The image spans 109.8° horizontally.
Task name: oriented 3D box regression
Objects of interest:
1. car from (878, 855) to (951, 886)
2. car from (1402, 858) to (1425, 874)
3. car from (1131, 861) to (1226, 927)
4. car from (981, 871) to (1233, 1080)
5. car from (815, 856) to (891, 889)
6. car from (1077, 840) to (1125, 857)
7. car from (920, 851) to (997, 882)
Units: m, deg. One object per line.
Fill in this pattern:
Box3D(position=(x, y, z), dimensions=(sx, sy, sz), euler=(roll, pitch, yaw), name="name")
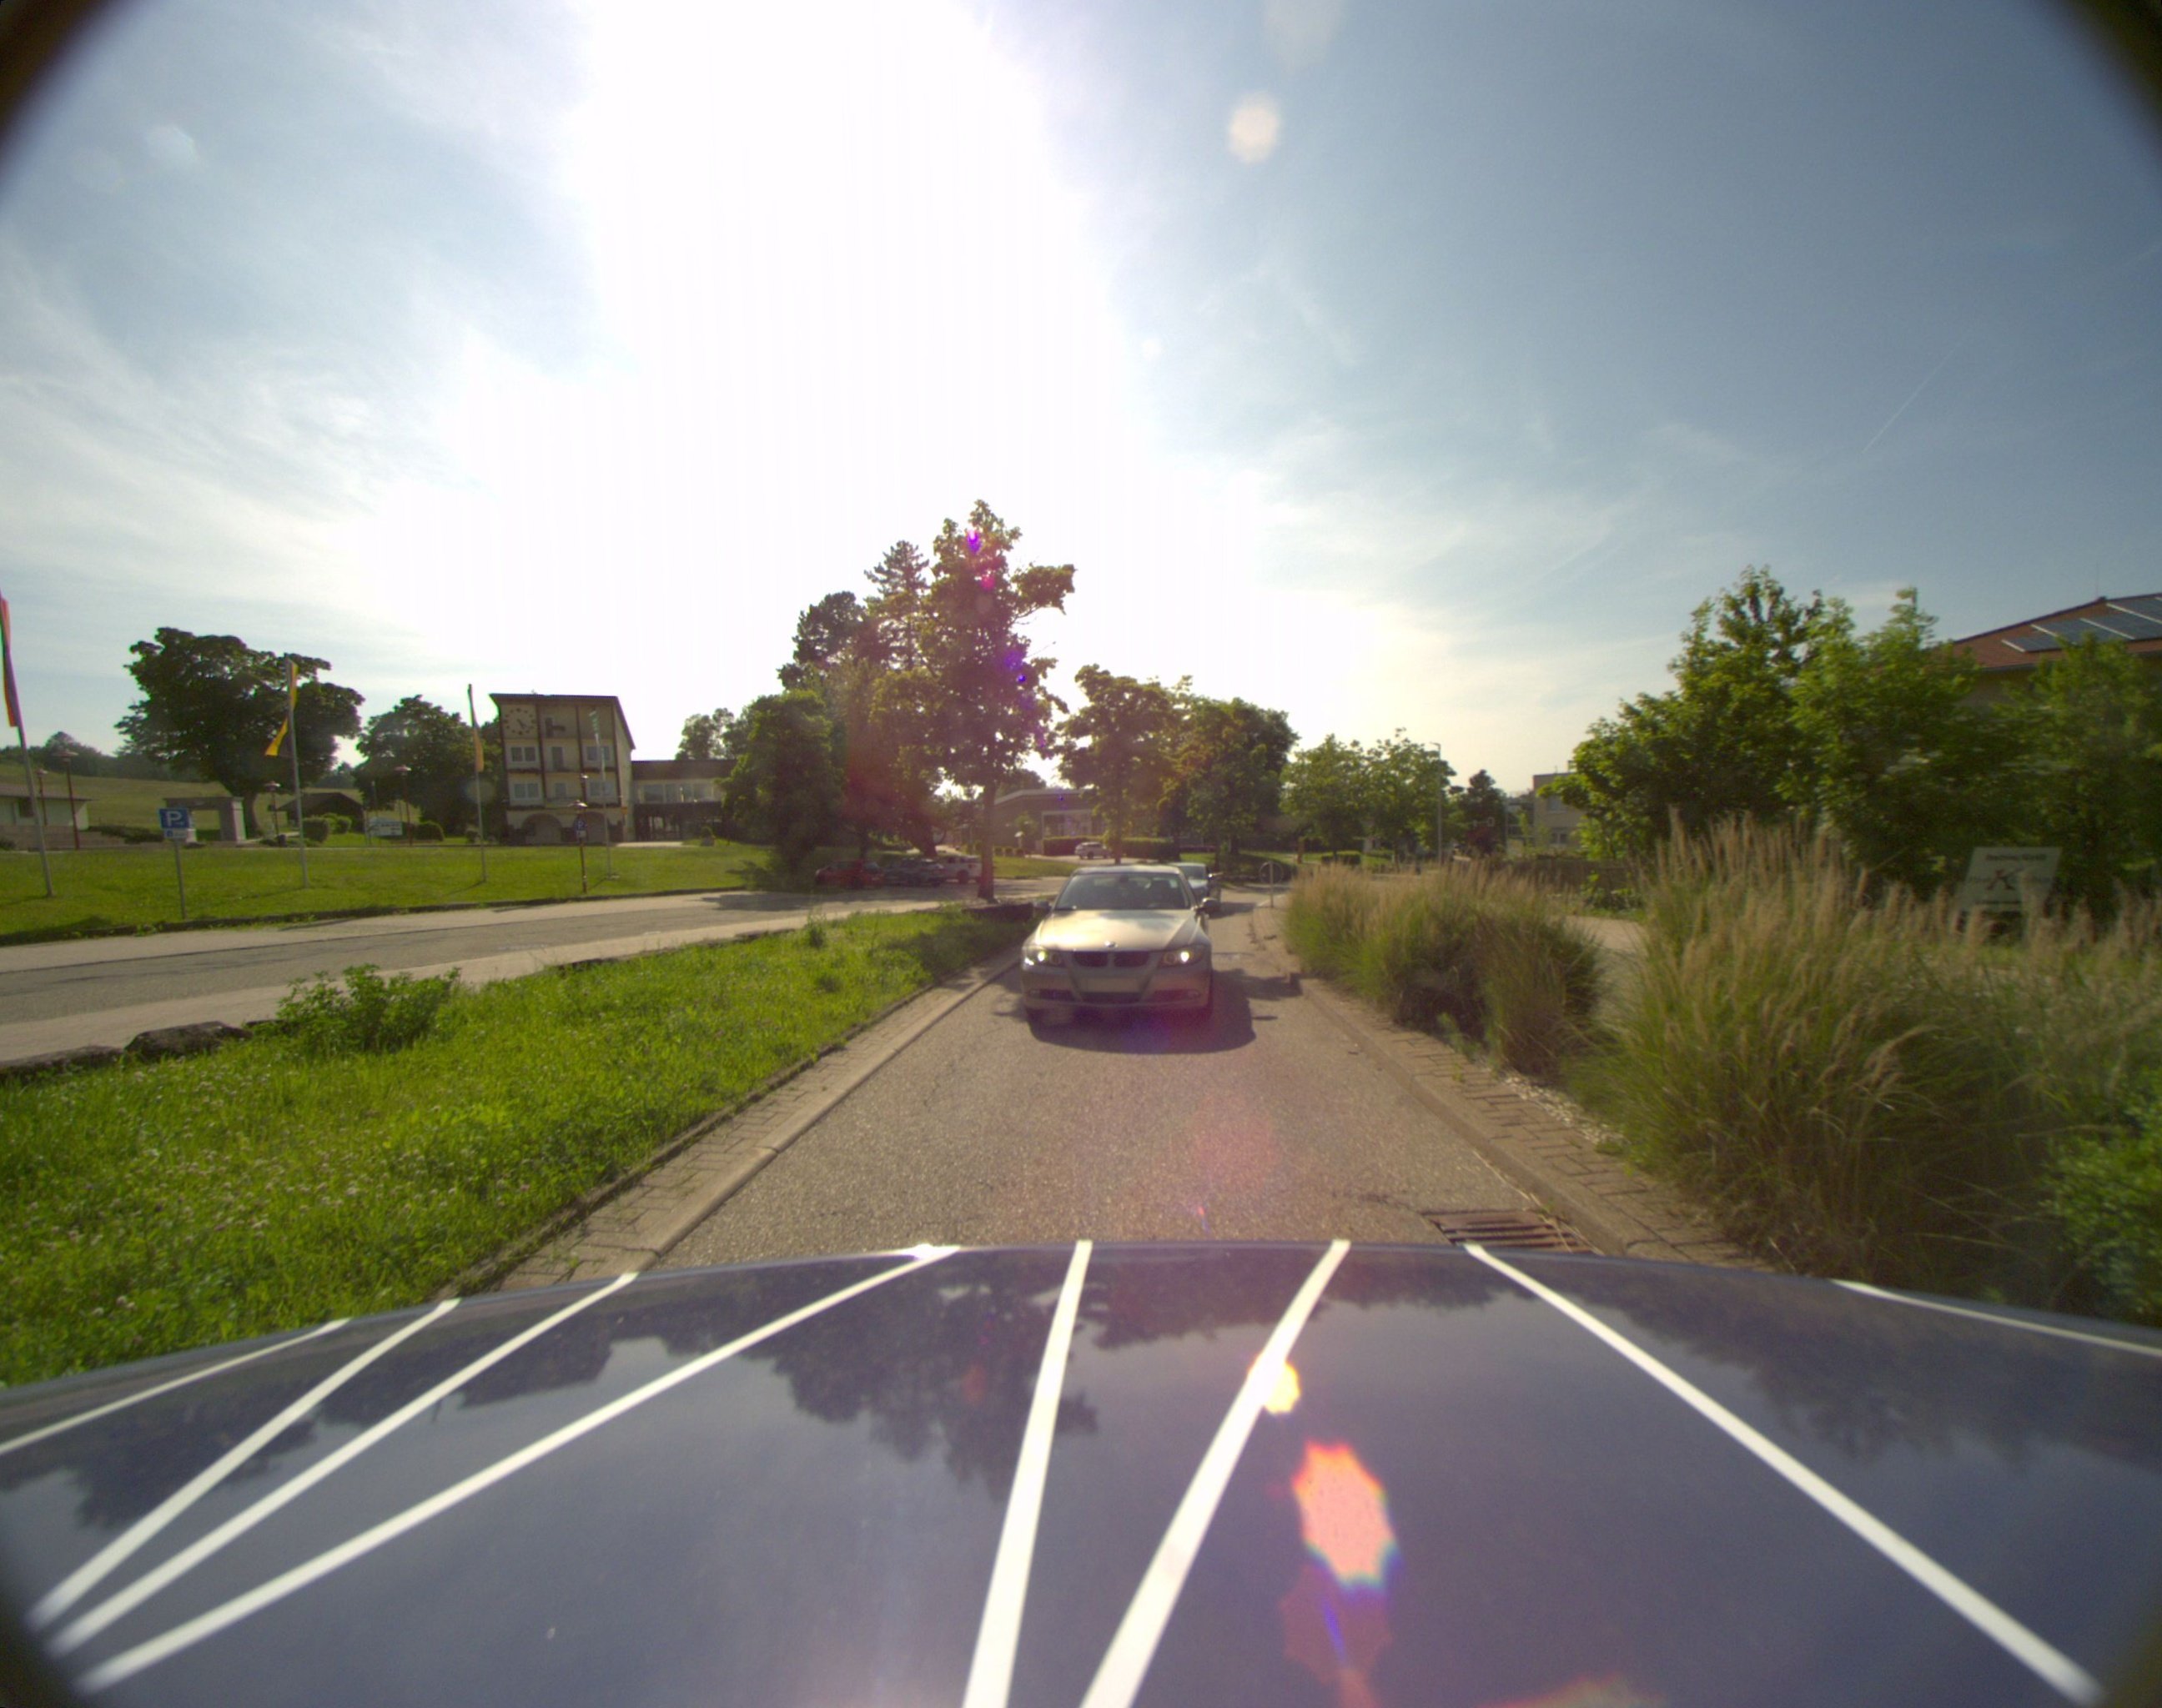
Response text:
Box3D(position=(-8.771, 0.842, 39.890), dimensions=(3.529, 1.419, 1.689), euler=(2, 1, 33), name="car")
Box3D(position=(30.745, 1.102, 70.222), dimensions=(1.475, 1.357, 2.808), euler=(2, 1, 33), name="car")
Box3D(position=(2.769, 1.000, 20.766), dimensions=(1.900, 1.499, 4.005), euler=(2, 1, 17), name="car")
Box3D(position=(0.382, 0.941, 7.897), dimensions=(1.838, 1.360, 4.583), euler=(1, 0, 5), name="car")
Box3D(position=(-11.116, 0.872, 37.091), dimensions=(3.303, 1.396, 1.717), euler=(2, 2, 28), name="car")
Box3D(position=(1.957, -0.527, 74.805), dimensions=(4.376, 1.506, 1.789), euler=(1, 1, -29), name="car")
Box3D(position=(-7.069, 0.699, 43.697), dimensions=(3.988, 1.609, 2.004), euler=(2, 1, 33), name="car")
